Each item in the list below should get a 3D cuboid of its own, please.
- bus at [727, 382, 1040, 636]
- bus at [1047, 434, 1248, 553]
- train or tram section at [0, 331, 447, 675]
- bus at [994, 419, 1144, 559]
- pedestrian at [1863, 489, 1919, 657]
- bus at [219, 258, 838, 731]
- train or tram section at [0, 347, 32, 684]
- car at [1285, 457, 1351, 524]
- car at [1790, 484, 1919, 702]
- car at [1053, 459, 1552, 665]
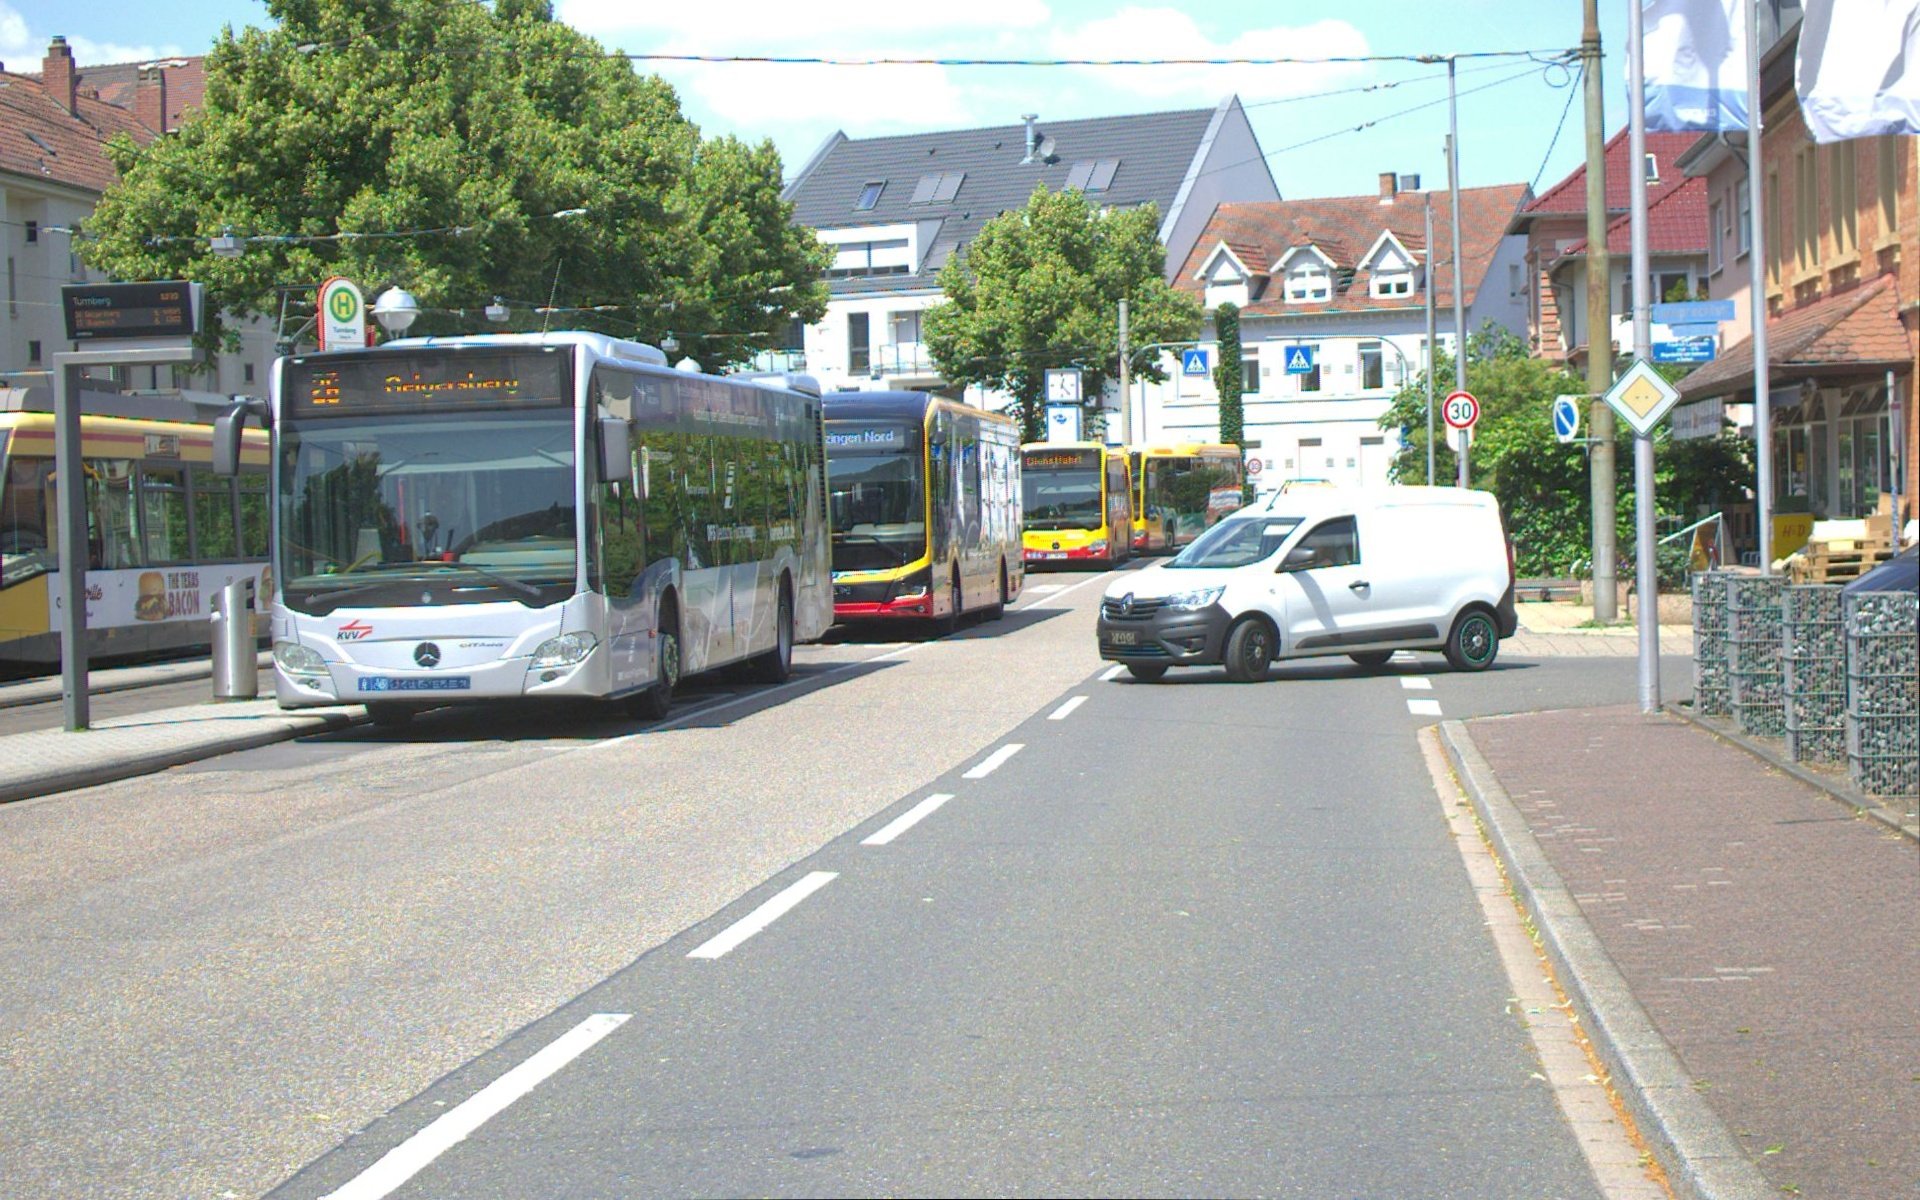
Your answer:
[{"bbox_3d":[-0.853,-1.229,50.291,2.899,3.236,12.193,1,1,7],"label":"bus"},{"bbox_3d":[5.597,-3.173,99.647,2.782,3.197,12.297,1,3,18],"label":"bus"},{"bbox_3d":[-10.407,-1.257,45.112,2.964,3.630,17.349,1,2,6],"label":"train or tram section"},{"bbox_3d":[2.849,-2.747,86.182,2.908,3.236,12.117,1,2,6],"label":"bus"},{"bbox_3d":[9.482,-0.279,34.367,0.706,1.635,0.659,-1,3,27],"label":"pedestrian"},{"bbox_3d":[-3.371,-0.829,31.052,2.908,3.415,12.037,1,1,6],"label":"bus"},{"bbox_3d":[-11.982,-0.760,30.255,2.964,3.483,12.655,1,1,6],"label":"train or tram section"},{"bbox_3d":[11.457,-3.476,109.793,1.994,2.007,3.999,1,1,7],"label":"car"},{"bbox_3d":[8.356,-0.104,25.441,3.875,1.537,1.843,-1,1,-6],"label":"car"},{"bbox_3d":[3.339,-0.418,33.152,4.697,1.844,1.709,-2,2,-31],"label":"car"}]
